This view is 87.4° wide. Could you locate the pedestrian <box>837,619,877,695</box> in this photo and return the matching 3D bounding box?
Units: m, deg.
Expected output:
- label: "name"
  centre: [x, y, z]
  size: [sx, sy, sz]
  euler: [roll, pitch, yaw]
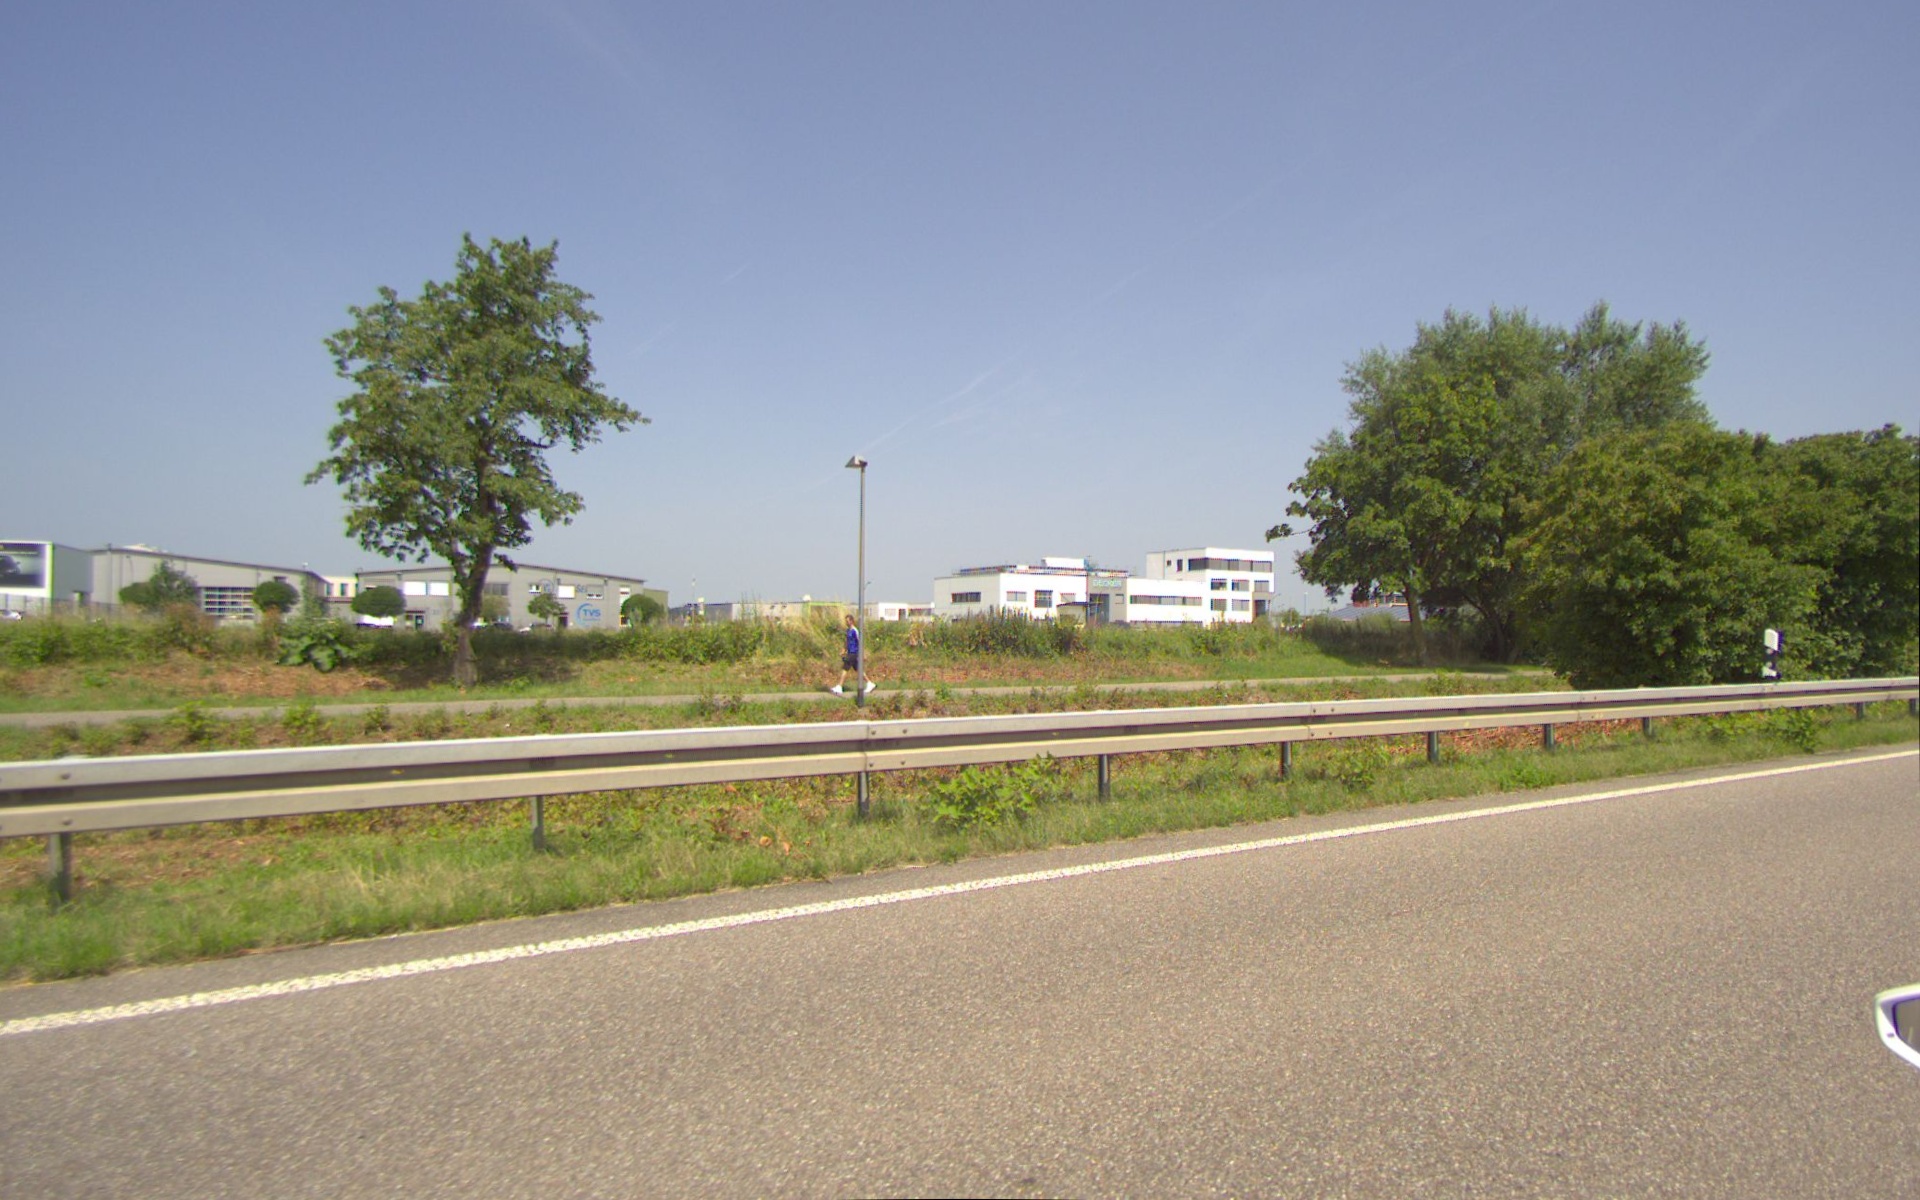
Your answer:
- label: "pedestrian"
  centre: [-2.427, 1.334, 23.668]
  size: [0.810, 1.773, 0.577]
  euler: [1, -2, -26]
